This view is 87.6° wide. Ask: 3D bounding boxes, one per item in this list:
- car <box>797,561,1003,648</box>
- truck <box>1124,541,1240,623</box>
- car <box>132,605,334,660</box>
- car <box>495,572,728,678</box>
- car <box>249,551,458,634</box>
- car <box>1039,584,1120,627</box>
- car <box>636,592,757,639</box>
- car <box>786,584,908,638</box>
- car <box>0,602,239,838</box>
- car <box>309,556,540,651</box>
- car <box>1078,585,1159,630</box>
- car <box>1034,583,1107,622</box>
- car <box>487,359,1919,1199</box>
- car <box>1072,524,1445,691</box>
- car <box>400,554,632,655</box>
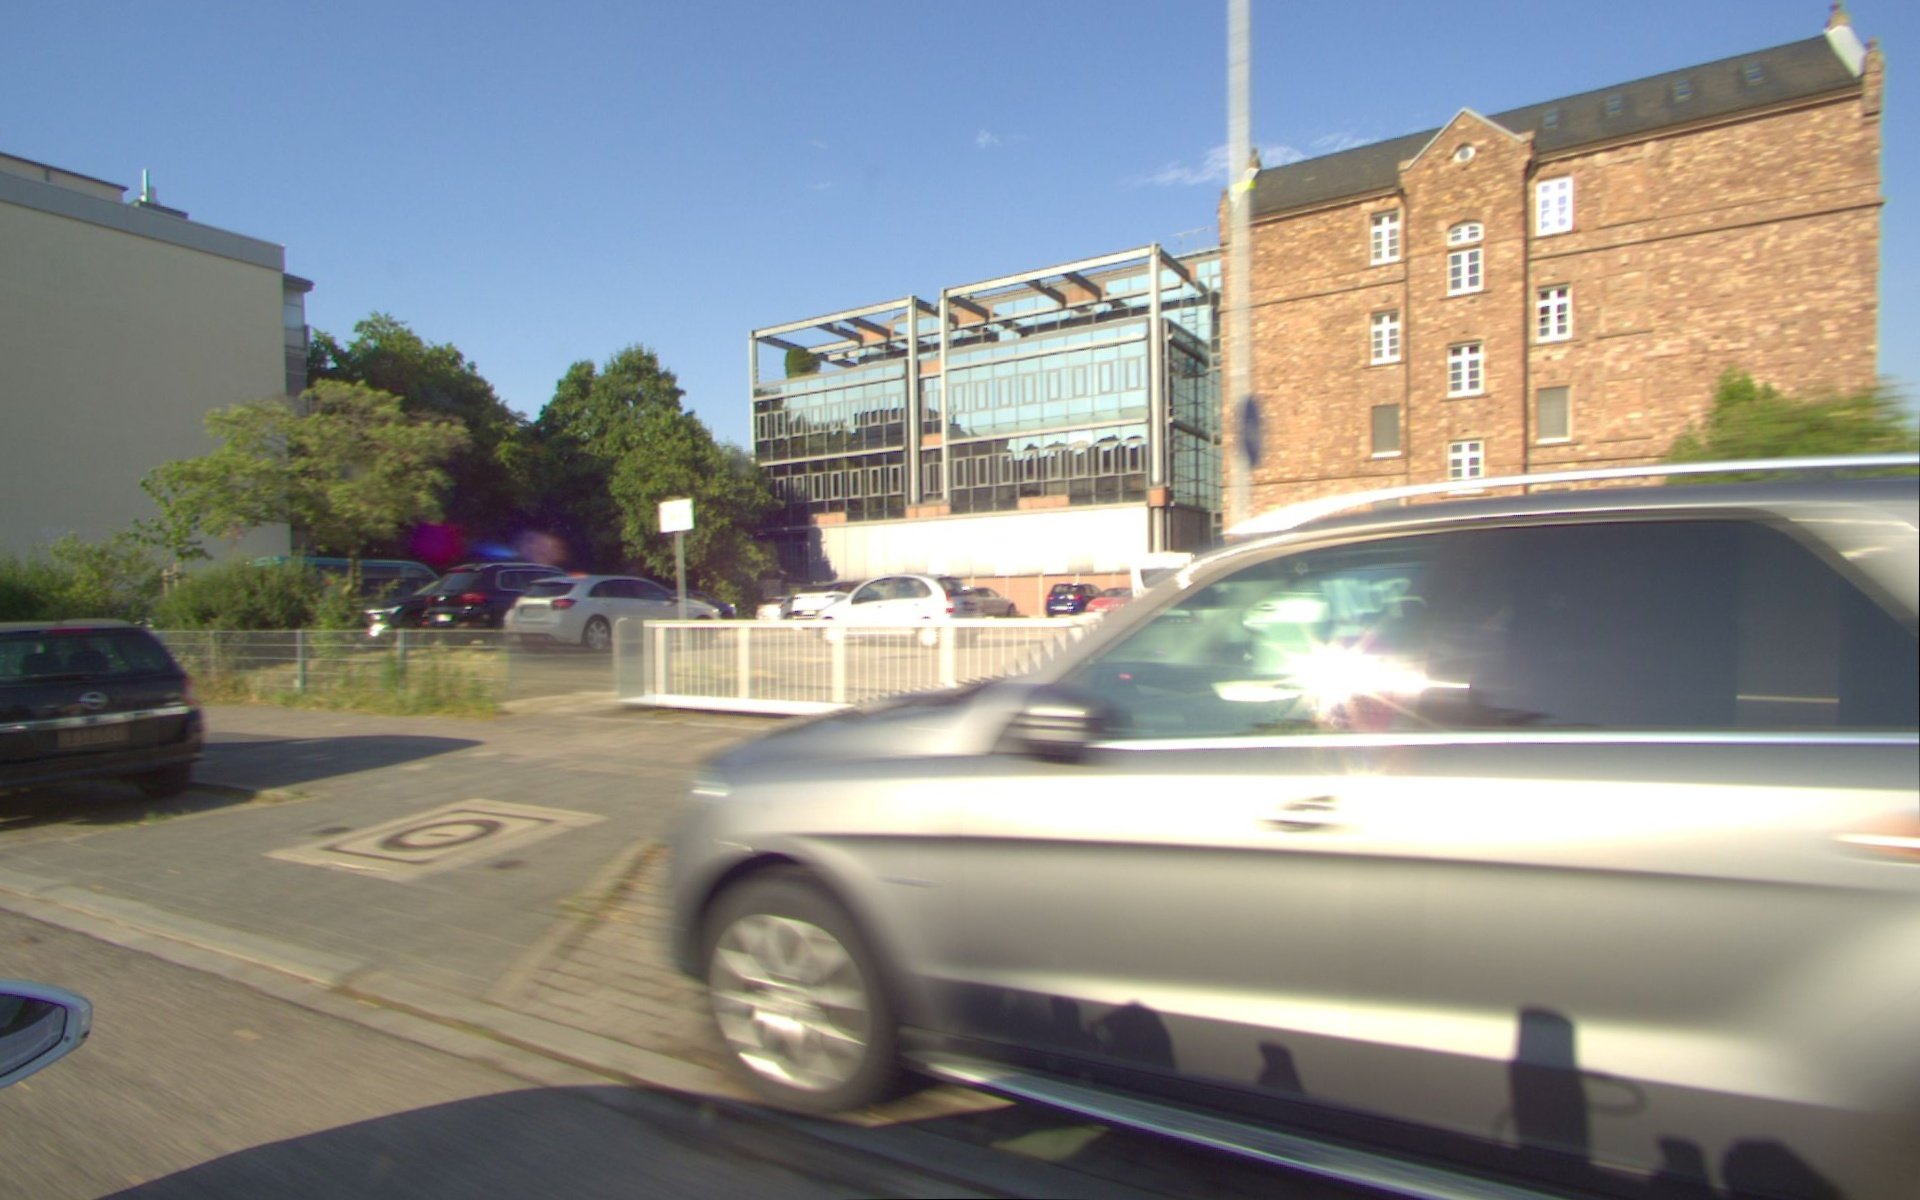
[{"bbox_3d":[-1.281,0.172,21.284,3.939,1.646,1.992,-2,-3,29],"label":"car"},{"bbox_3d":[8.625,-0.547,38.301,2.505,2.717,6.417,-2,-3,30],"label":"truck"},{"bbox_3d":[-20.977,0.974,29.103,1.707,1.473,4.472,-2,-3,30],"label":"car"},{"bbox_3d":[-6.558,0.526,19.260,1.969,1.816,3.986,-2,-3,28],"label":"car"},{"bbox_3d":[-14.825,-0.088,24.687,1.969,1.816,3.986,-2,-3,28],"label":"car"},{"bbox_3d":[5.031,0.285,41.747,1.707,1.622,4.472,-2,-3,30],"label":"car"},{"bbox_3d":[-9.673,0.629,37.155,1.707,1.622,4.472,-2,-3,30],"label":"car"},{"bbox_3d":[-3.653,0.420,33.228,1.707,1.622,4.472,-2,-3,30],"label":"car"},{"bbox_3d":[-8.127,0.890,8.358,4.374,1.561,1.739,-2,1,30],"label":"car"},{"bbox_3d":[-11.388,0.158,21.559,1.970,1.816,3.984,-2,-3,29],"label":"car"},{"bbox_3d":[6.411,0.339,40.045,1.707,1.622,4.472,-2,-3,30],"label":"car"},{"bbox_3d":[5.167,0.147,46.331,1.707,1.622,4.472,-2,-3,30],"label":"car"},{"bbox_3d":[0.966,0.503,3.073,4.739,1.803,1.917,-2,3,30],"label":"car"},{"bbox_3d":[3.468,0.168,11.795,3.940,1.683,1.652,-2,-2,30],"label":"car"},{"bbox_3d":[-8.876,0.173,20.373,1.969,1.816,3.986,-2,-3,28],"label":"car"}]
